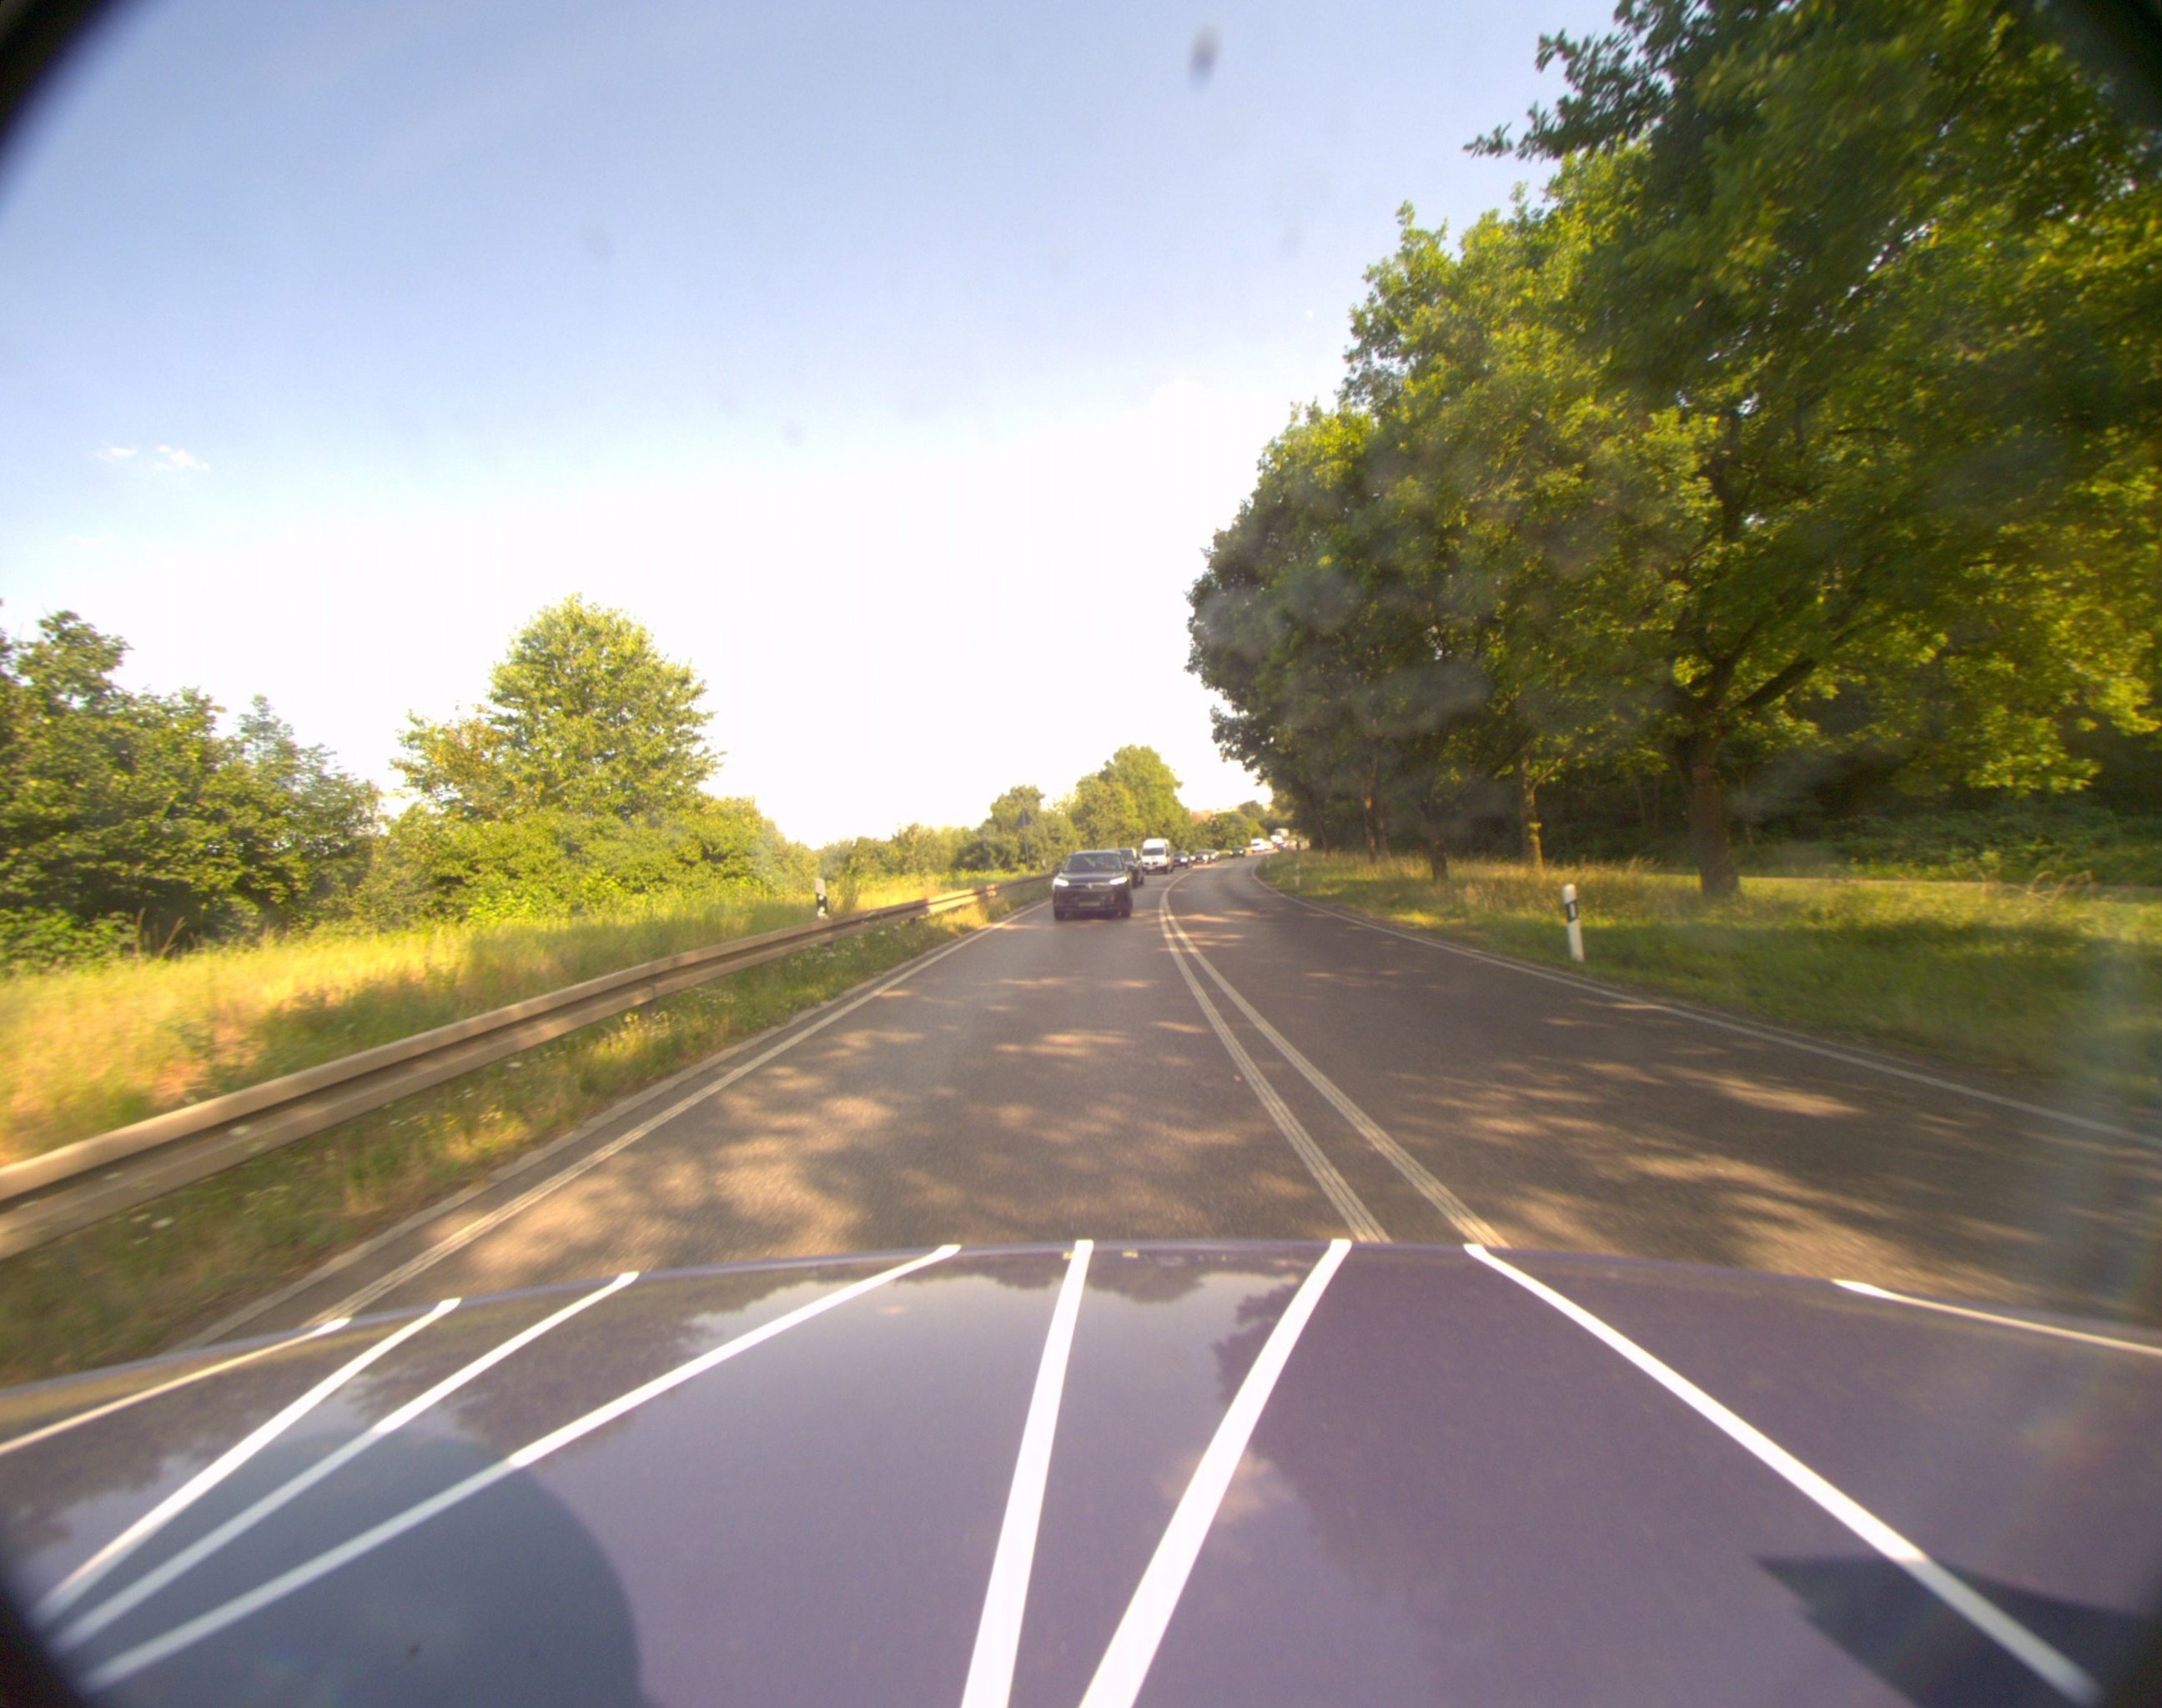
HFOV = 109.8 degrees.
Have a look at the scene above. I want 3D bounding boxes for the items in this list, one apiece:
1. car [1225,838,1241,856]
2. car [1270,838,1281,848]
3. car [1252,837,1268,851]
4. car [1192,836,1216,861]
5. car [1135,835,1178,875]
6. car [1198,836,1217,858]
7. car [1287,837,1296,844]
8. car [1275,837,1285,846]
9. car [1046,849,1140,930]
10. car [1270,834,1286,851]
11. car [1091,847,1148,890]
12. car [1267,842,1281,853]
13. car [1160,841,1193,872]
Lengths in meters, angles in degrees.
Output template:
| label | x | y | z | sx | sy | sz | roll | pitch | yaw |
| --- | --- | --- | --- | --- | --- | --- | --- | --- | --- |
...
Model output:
| label | x | y | z | sx | sy | sz | roll | pitch | yaw |
| --- | --- | --- | --- | --- | --- | --- | --- | --- | --- |
| car | 22.252 | -1.045 | 111.212 | 2.087 | 2.403 | 5.145 | -2 | 1 | 11 |
| car | 49.935 | -2.864 | 194.913 | 2.085 | 2.403 | 5.149 | -2 | 1 | 22 |
| car | 34.025 | -1.958 | 144.346 | 2.085 | 2.403 | 5.149 | -2 | 1 | 22 |
| car | 12.384 | -0.569 | 76.307 | 2.087 | 2.403 | 5.145 | -2 | 1 | 11 |
| car | 5.069 | 0.009 | 50.534 | 2.086 | 2.403 | 5.146 | -2 | 1 | 13 |
| car | 14.986 | -0.825 | 89.841 | 2.087 | 2.403 | 5.145 | -2 | 1 | 11 |
| car | 55.916 | -3.553 | 201.672 | 1.892 | 1.622 | 4.256 | -2 | 1 | 19 |
| car | 41.564 | -2.604 | 158.602 | 1.899 | 1.622 | 4.255 | -2 | 1 | 16 |
| car | 0.446 | 0.752 | 18.684 | 1.922 | 1.612 | 4.702 | -2 | 1 | 5 |
| car | 29.102 | -1.675 | 111.986 | 2.086 | 2.403 | 5.147 | -2 | 1 | 15 |
| car | 1.804 | 0.602 | 33.774 | 1.921 | 1.718 | 4.705 | -2 | 0 | 10 |
| car | 42.234 | -1.444 | 166.160 | 2.085 | 2.403 | 5.149 | -2 | 1 | 22 |
| car | 8.001 | 0.158 | 63.210 | 2.086 | 2.403 | 5.146 | -2 | 1 | 13 |
